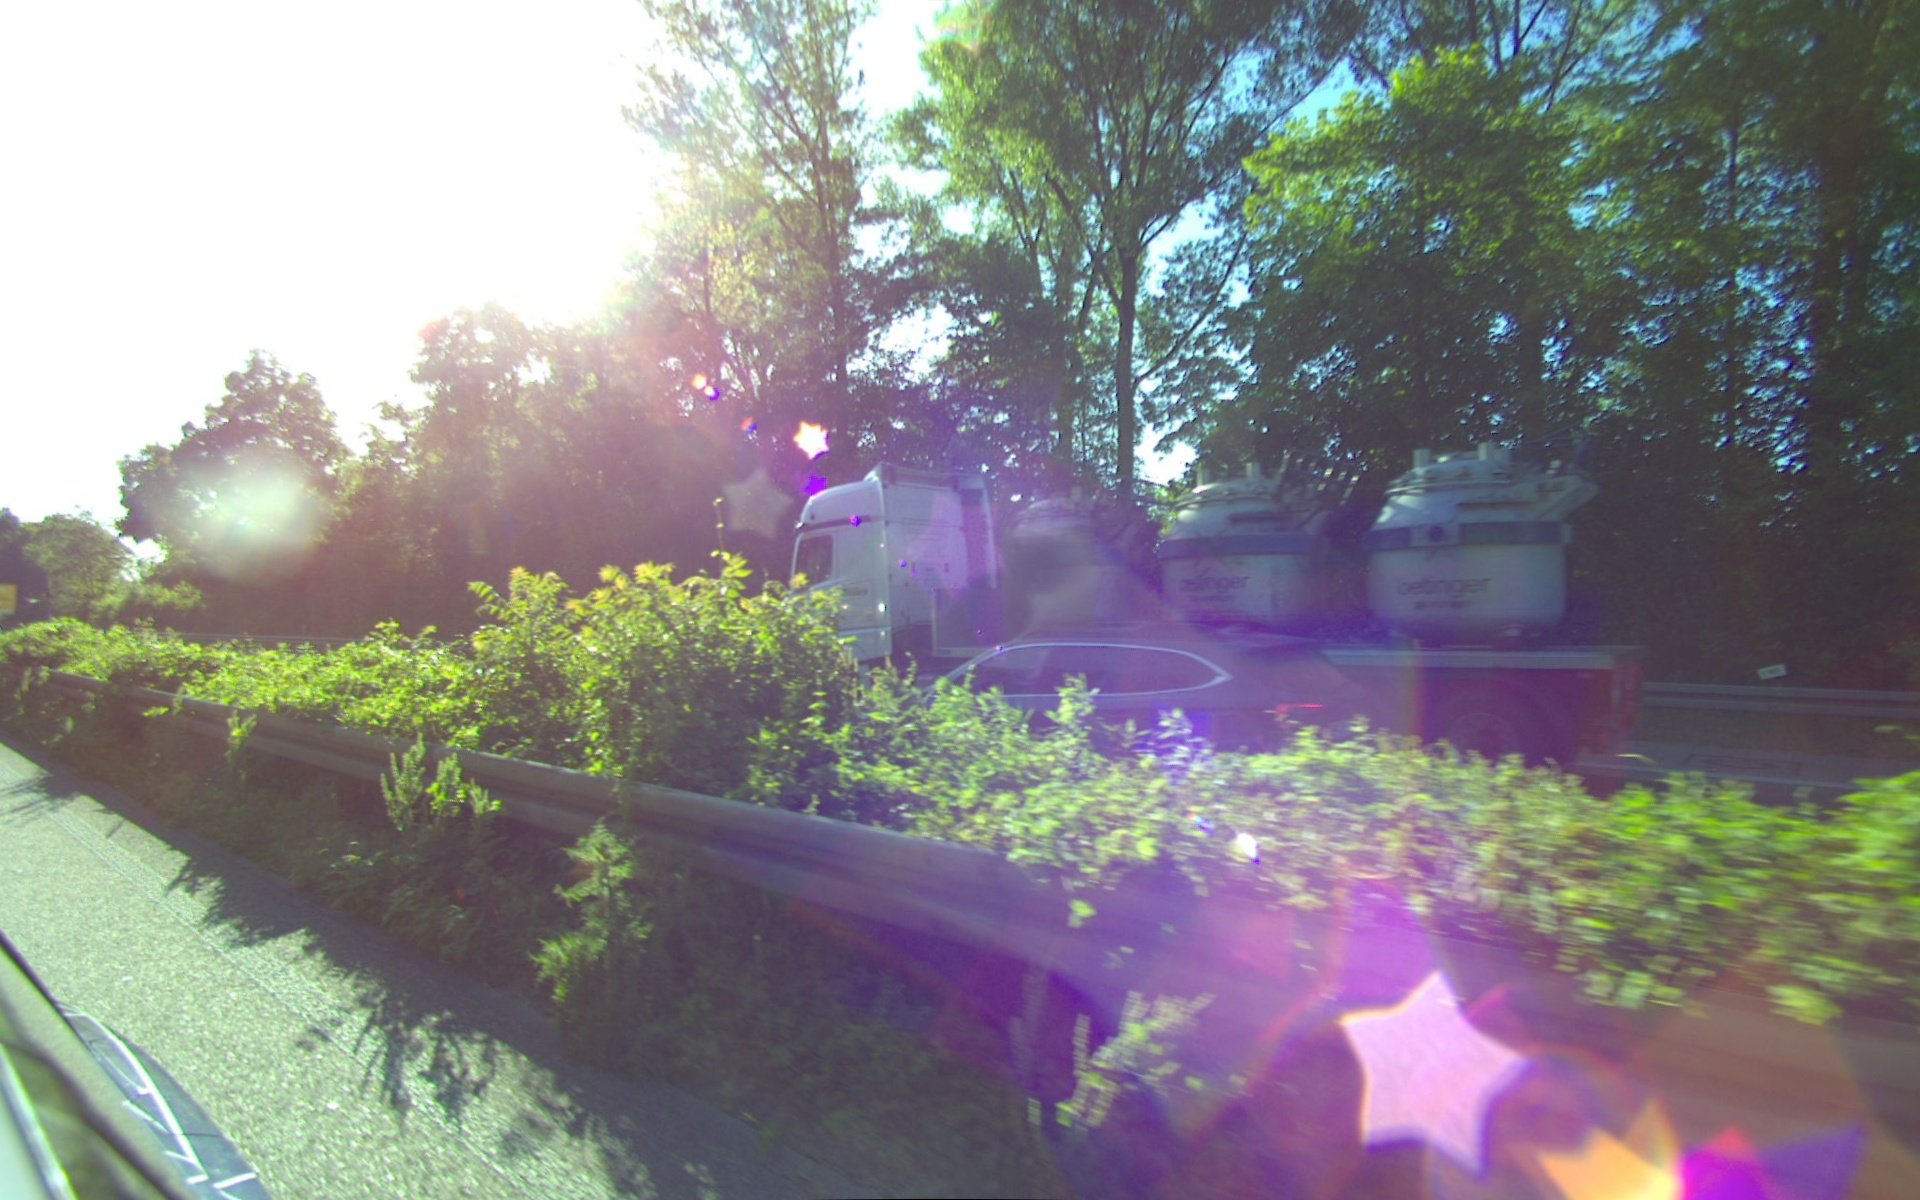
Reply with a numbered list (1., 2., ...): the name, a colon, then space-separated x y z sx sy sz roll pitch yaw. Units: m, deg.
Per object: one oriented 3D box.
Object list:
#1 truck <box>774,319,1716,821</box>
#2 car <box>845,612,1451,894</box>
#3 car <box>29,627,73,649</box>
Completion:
1. truck: 2.343 -0.211 12.865 11.461 3.985 2.740 -1 0 41
2. car: 1.293 0.958 8.384 4.696 1.681 1.777 -1 0 41
3. car: -62.905 2.650 70.016 4.553 1.419 1.715 -2 -1 41
